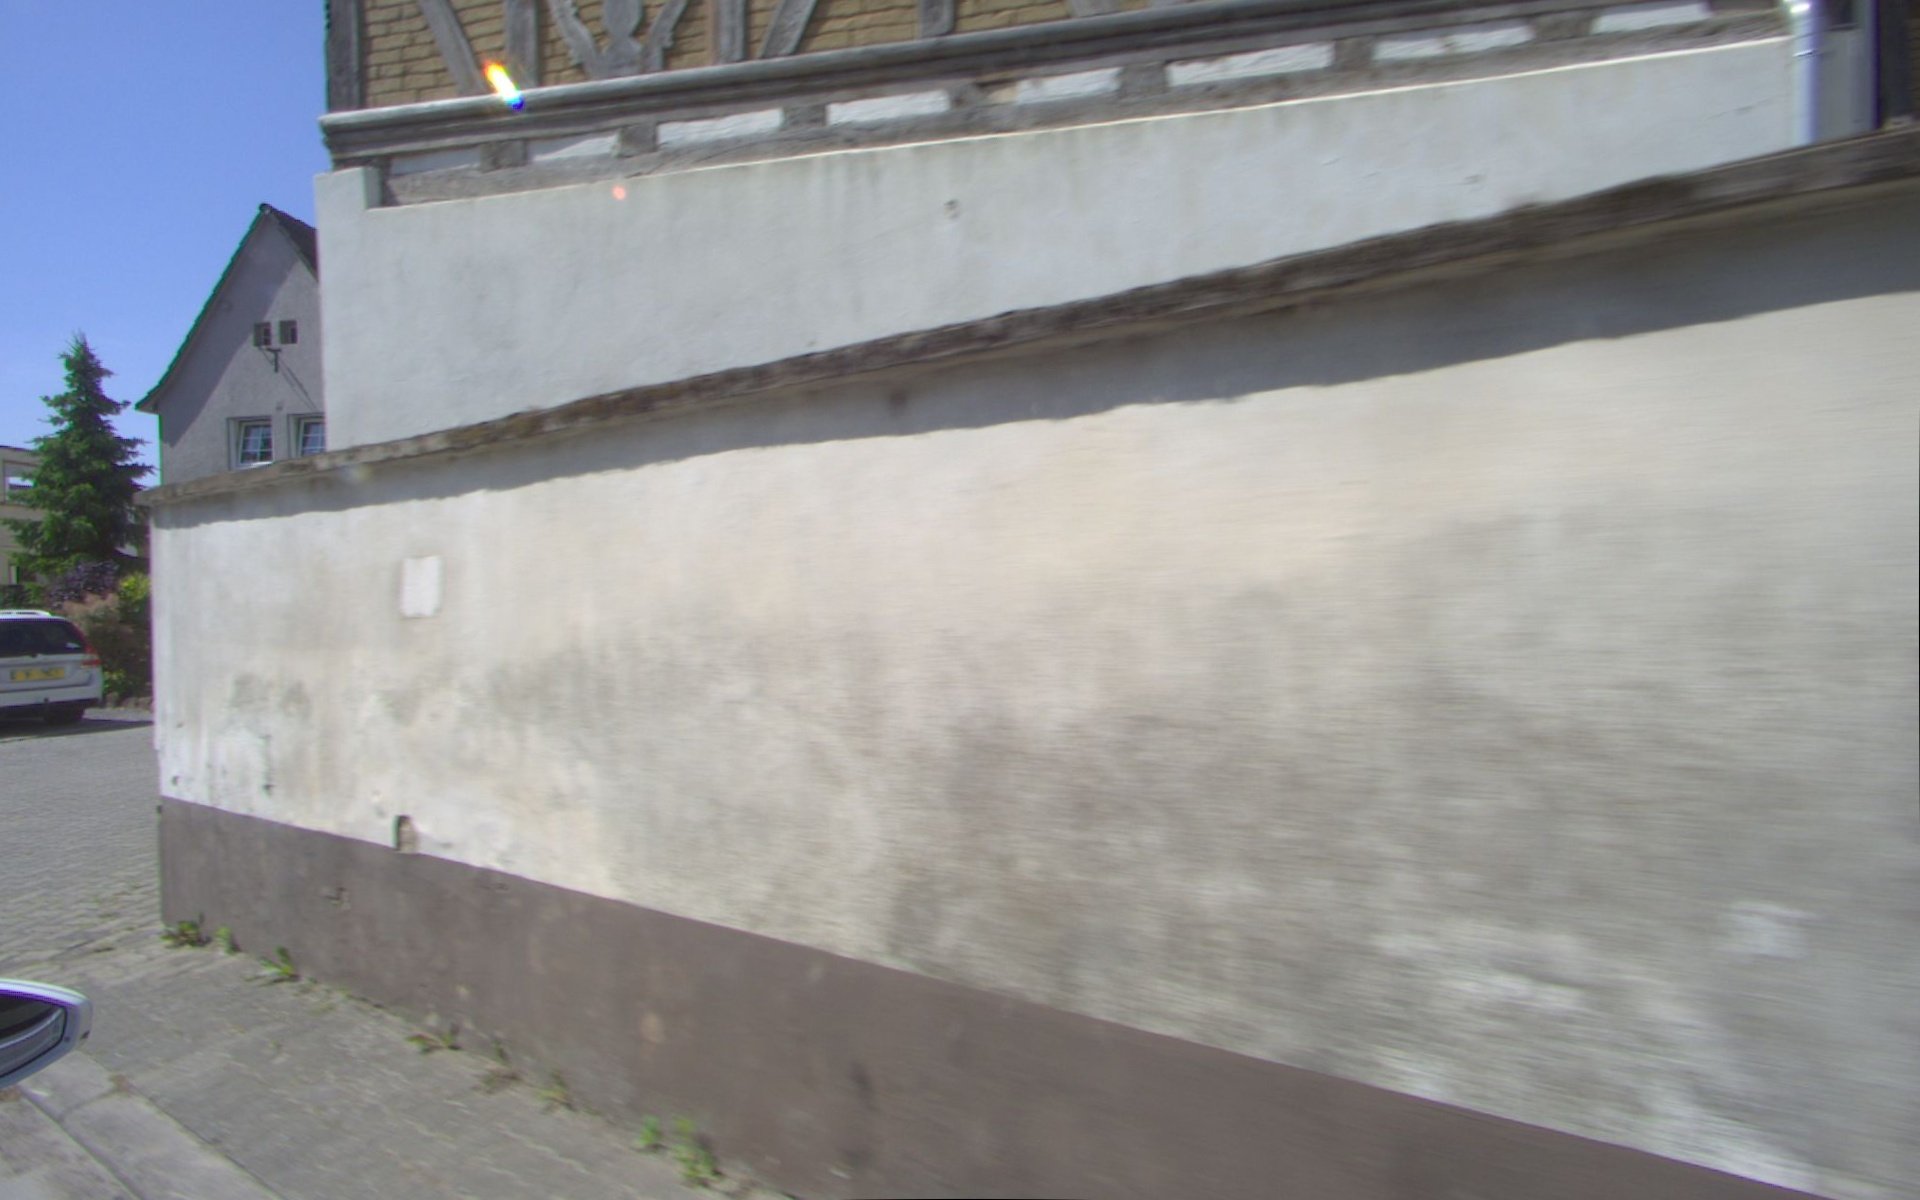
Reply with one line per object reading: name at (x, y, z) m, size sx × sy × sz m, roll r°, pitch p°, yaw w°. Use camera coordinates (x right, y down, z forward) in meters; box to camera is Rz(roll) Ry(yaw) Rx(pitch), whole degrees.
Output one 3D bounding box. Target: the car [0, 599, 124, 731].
car at (-13.295, 0.802, 12.981) m, size 4.220 × 1.549 × 1.812 m, roll -1°, pitch 1°, yaw 19°
